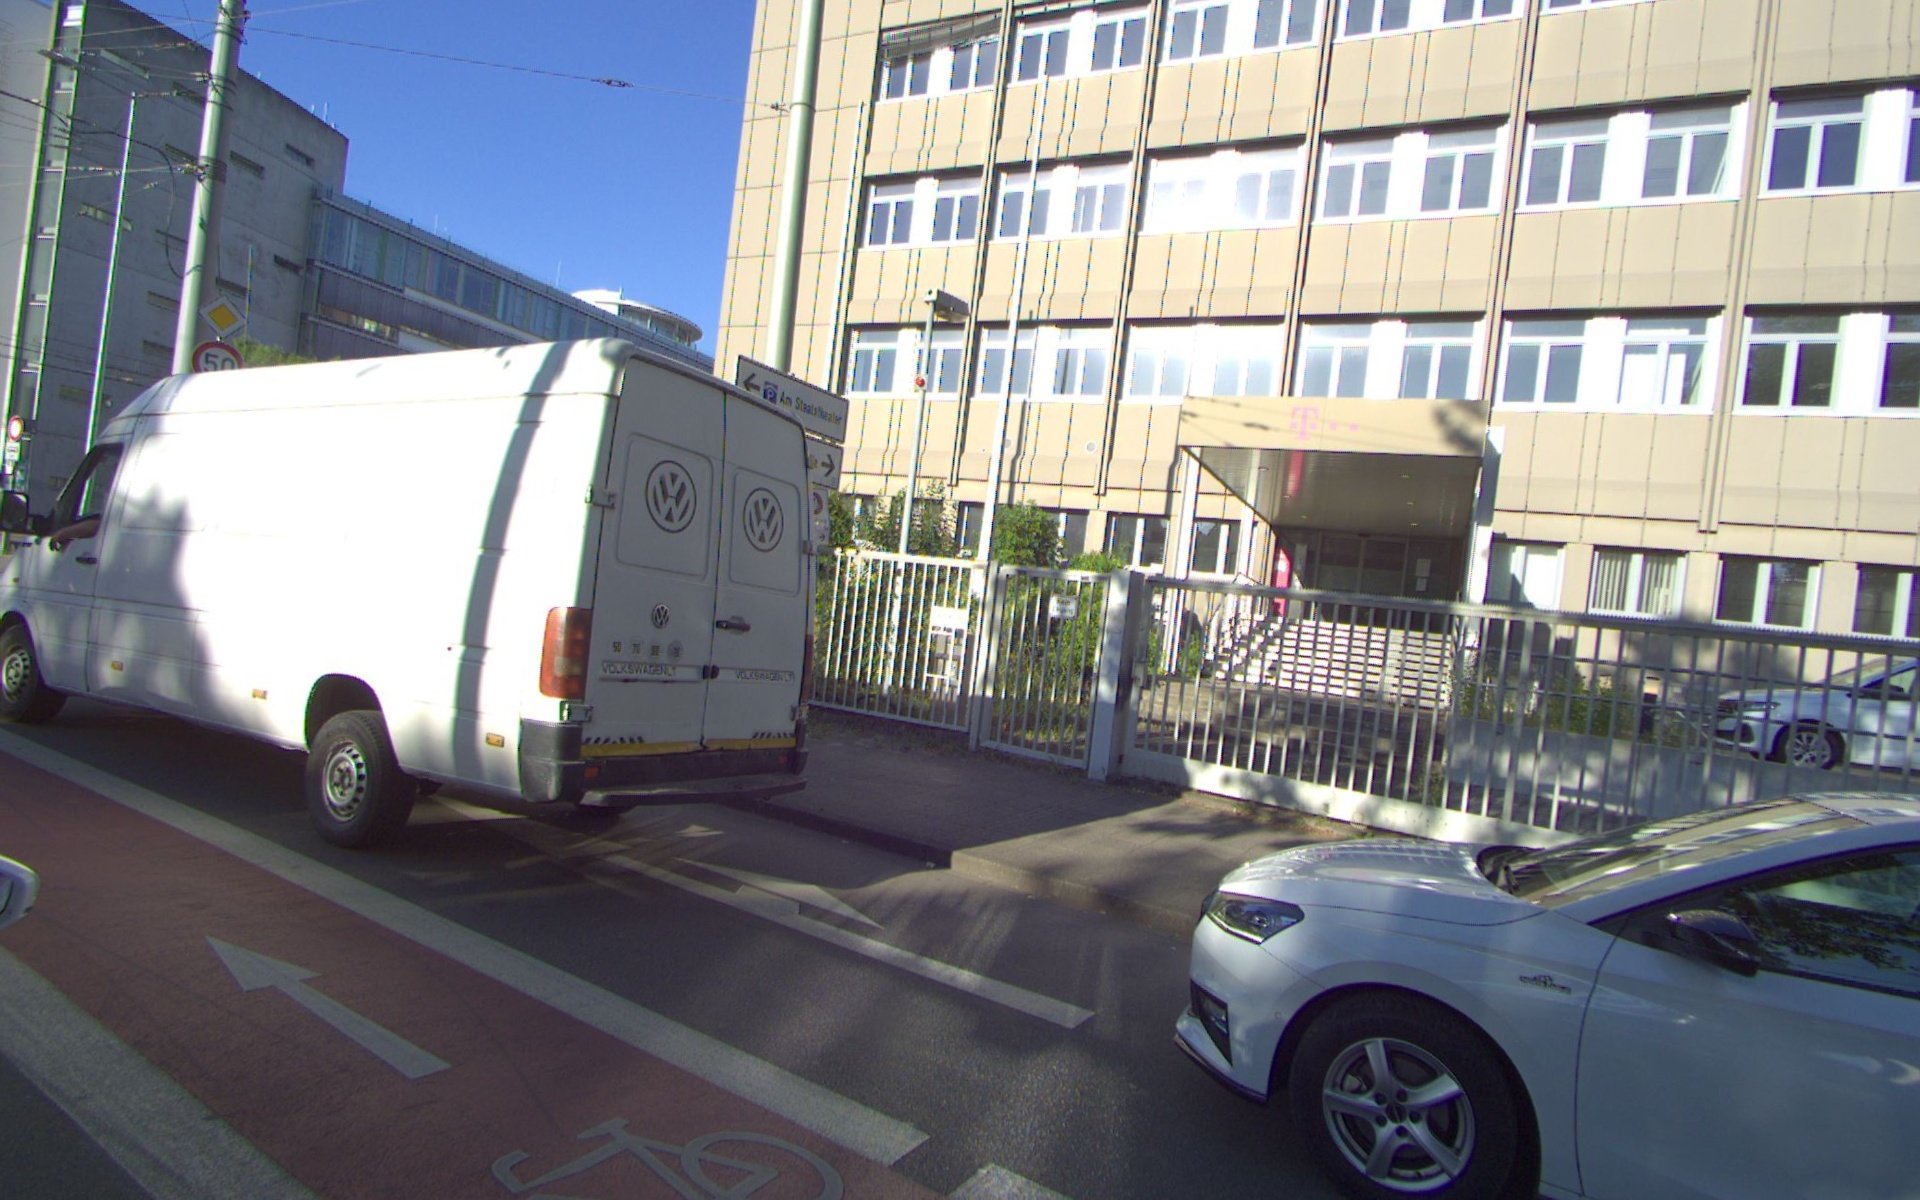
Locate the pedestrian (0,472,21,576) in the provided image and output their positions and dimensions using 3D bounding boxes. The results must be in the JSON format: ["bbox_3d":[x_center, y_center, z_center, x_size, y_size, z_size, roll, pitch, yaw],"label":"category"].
[{"bbox_3d":[-17.917,-1.447,18.445,1.199,1.846,0.776,7,1,41],"label":"pedestrian"}]

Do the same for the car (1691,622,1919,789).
[{"bbox_3d":[12.809,1.534,13.250,4.701,1.865,1.998,7,0,27],"label":"car"}]

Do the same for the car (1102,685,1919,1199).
[{"bbox_3d":[2.682,1.257,3.016,4.006,1.405,1.705,7,-1,30],"label":"car"}]

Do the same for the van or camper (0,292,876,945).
[{"bbox_3d":[-3.822,-0.156,6.563,6.196,2.748,1.973,7,-1,29],"label":"van or camper"}]
